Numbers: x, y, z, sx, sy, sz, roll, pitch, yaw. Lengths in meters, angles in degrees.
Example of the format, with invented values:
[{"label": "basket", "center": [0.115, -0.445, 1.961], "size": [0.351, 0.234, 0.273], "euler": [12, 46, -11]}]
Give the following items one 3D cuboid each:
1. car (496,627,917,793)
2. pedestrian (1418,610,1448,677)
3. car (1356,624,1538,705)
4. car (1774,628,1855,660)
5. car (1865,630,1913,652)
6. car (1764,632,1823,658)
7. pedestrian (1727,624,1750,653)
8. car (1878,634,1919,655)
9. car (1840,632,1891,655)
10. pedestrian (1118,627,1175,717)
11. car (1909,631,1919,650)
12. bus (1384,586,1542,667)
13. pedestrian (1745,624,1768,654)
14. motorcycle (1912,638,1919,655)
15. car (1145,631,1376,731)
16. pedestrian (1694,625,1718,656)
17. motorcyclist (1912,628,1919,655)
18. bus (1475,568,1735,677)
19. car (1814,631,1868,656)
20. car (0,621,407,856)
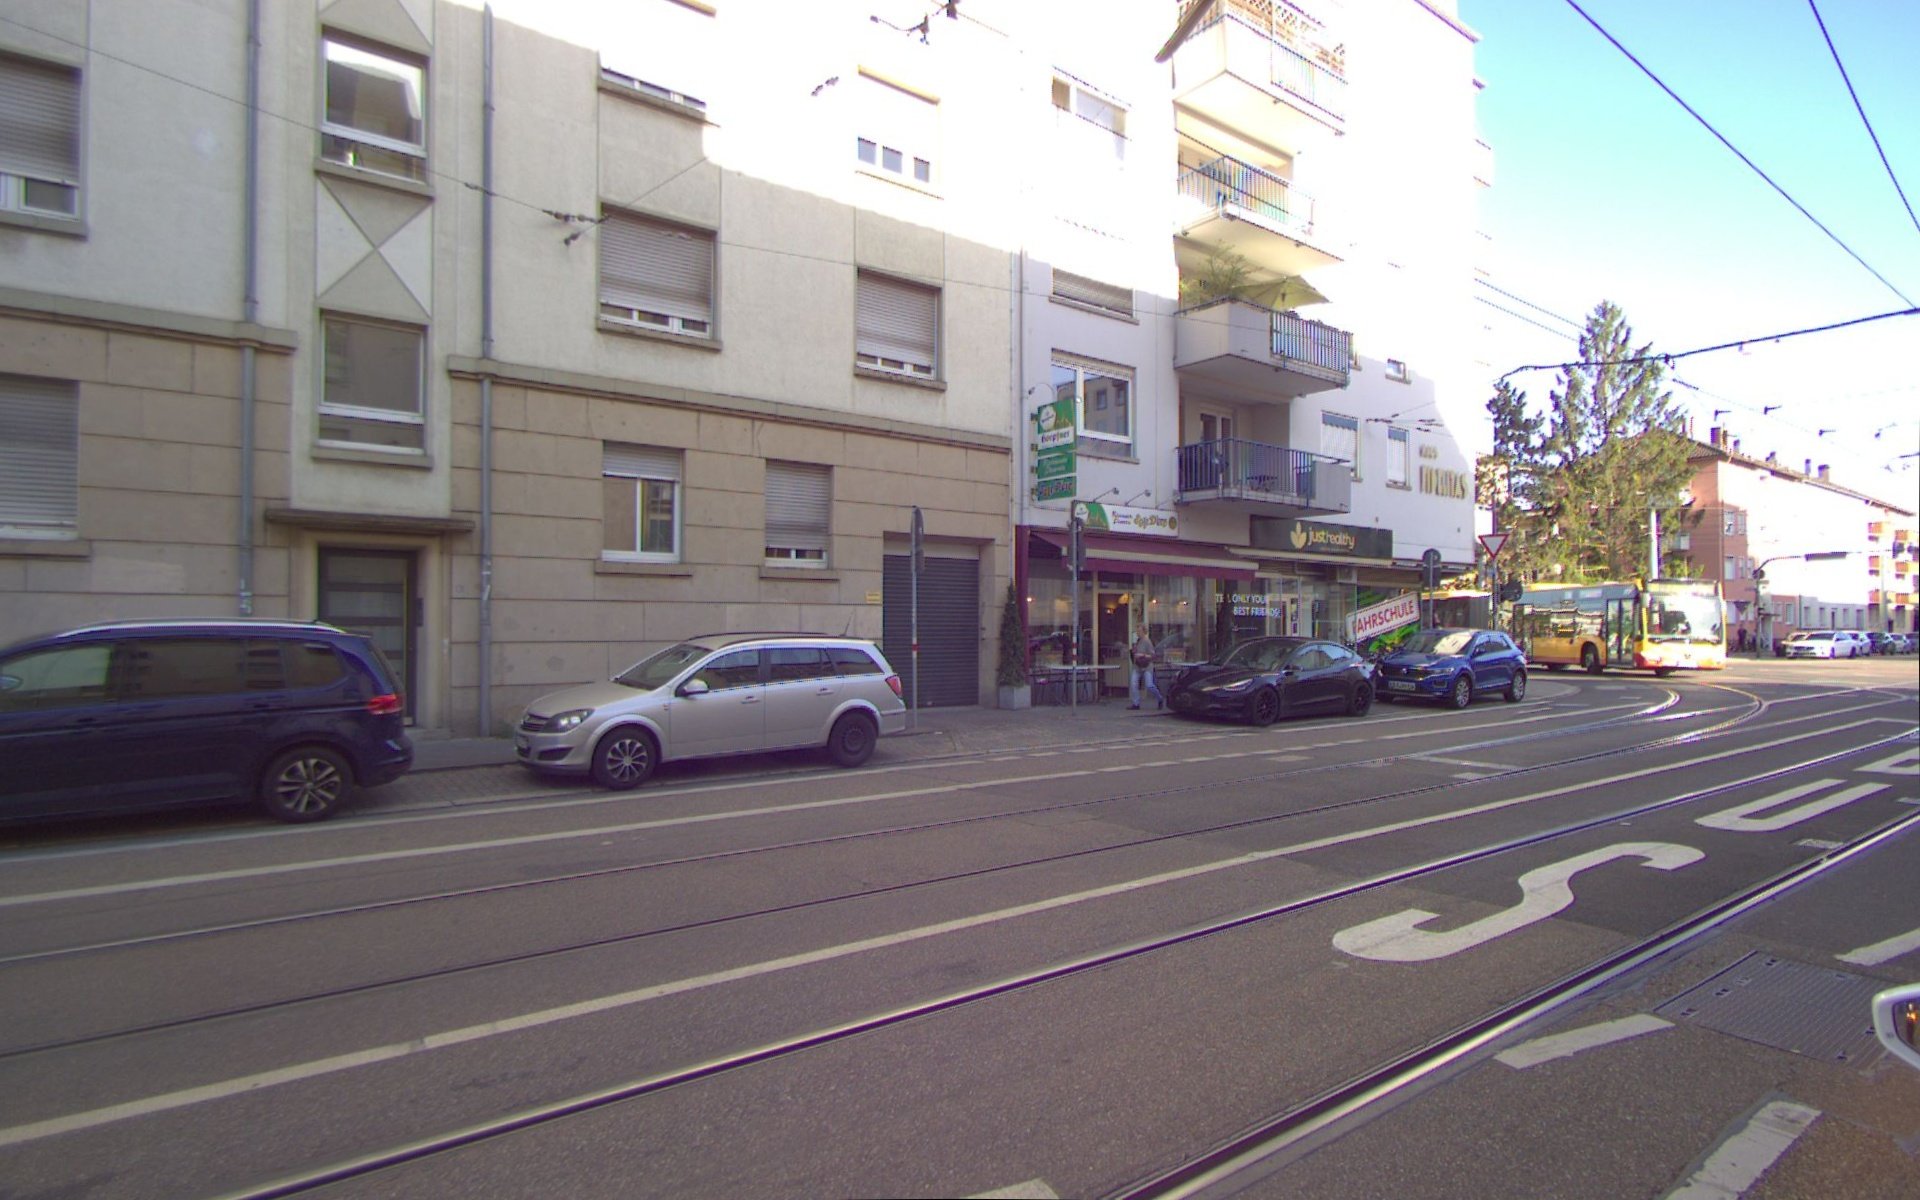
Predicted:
[{"label": "car", "center": [-2.764, 1.115, 11.487], "size": [4.346, 1.529, 1.687], "euler": [2, -1, -37]}, {"label": "pedestrian", "center": [14.653, 1.349, 31.137], "size": [0.482, 2.040, 0.681], "euler": [1, -2, -39]}, {"label": "car", "center": [10.314, 1.314, 21.194], "size": [3.959, 1.529, 1.733], "euler": [2, -1, -35]}, {"label": "car", "center": [44.678, 2.271, 52.498], "size": [4.348, 1.595, 1.841], "euler": [1, -2, -30]}, {"label": "car", "center": [67.017, 2.943, 72.456], "size": [3.964, 1.517, 1.897], "euler": [1, -2, -38]}, {"label": "car", "center": [48.596, 2.607, 58.534], "size": [3.966, 1.452, 1.896], "euler": [1, -2, -39]}, {"label": "pedestrian", "center": [46.076, 2.282, 59.458], "size": [0.729, 1.713, 0.839], "euler": [1, -1, -31]}, {"label": "car", "center": [71.254, 3.336, 76.057], "size": [3.964, 1.517, 1.897], "euler": [1, -2, -38]}, {"label": "car", "center": [62.101, 2.984, 68.870], "size": [3.964, 1.517, 1.897], "euler": [1, -2, -38]}, {"label": "pedestrian", "center": [3.361, 1.286, 18.124], "size": [0.713, 1.569, 0.693], "euler": [0, -1, -33]}, {"label": "car", "center": [78.085, 3.257, 80.809], "size": [3.964, 1.517, 1.897], "euler": [1, -2, -38]}, {"label": "bus", "center": [21.537, 1.167, 43.600], "size": [2.694, 3.203, 7.575], "euler": [0, -2, -4]}, {"label": "pedestrian", "center": [46.635, 2.275, 58.782], "size": [0.729, 1.713, 0.839], "euler": [1, -1, -31]}, {"label": "motorcycle", "center": [50.549, 2.454, 52.625], "size": [1.653, 0.875, 0.612], "euler": [1, -2, -34]}, {"label": "car", "center": [5.381, 1.349, 17.752], "size": [4.271, 1.529, 1.687], "euler": [2, -1, -37]}, {"label": "pedestrian", "center": [42.026, 2.267, 56.567], "size": [0.729, 1.713, 0.839], "euler": [1, -1, -31]}, {"label": "motorcyclist", "center": [50.427, 2.160, 52.537], "size": [0.902, 1.396, 0.715], "euler": [1, -2, -33]}, {"label": "bus", "center": [21.598, 0.835, 34.693], "size": [2.676, 3.200, 10.199], "euler": [0, -2, 2]}, {"label": "car", "center": [56.796, 2.775, 64.716], "size": [3.964, 1.517, 1.897], "euler": [1, -2, -38]}, {"label": "car", "center": [-6.992, 1.013, 8.088], "size": [4.207, 1.637, 1.686], "euler": [2, -1, -39]}]
